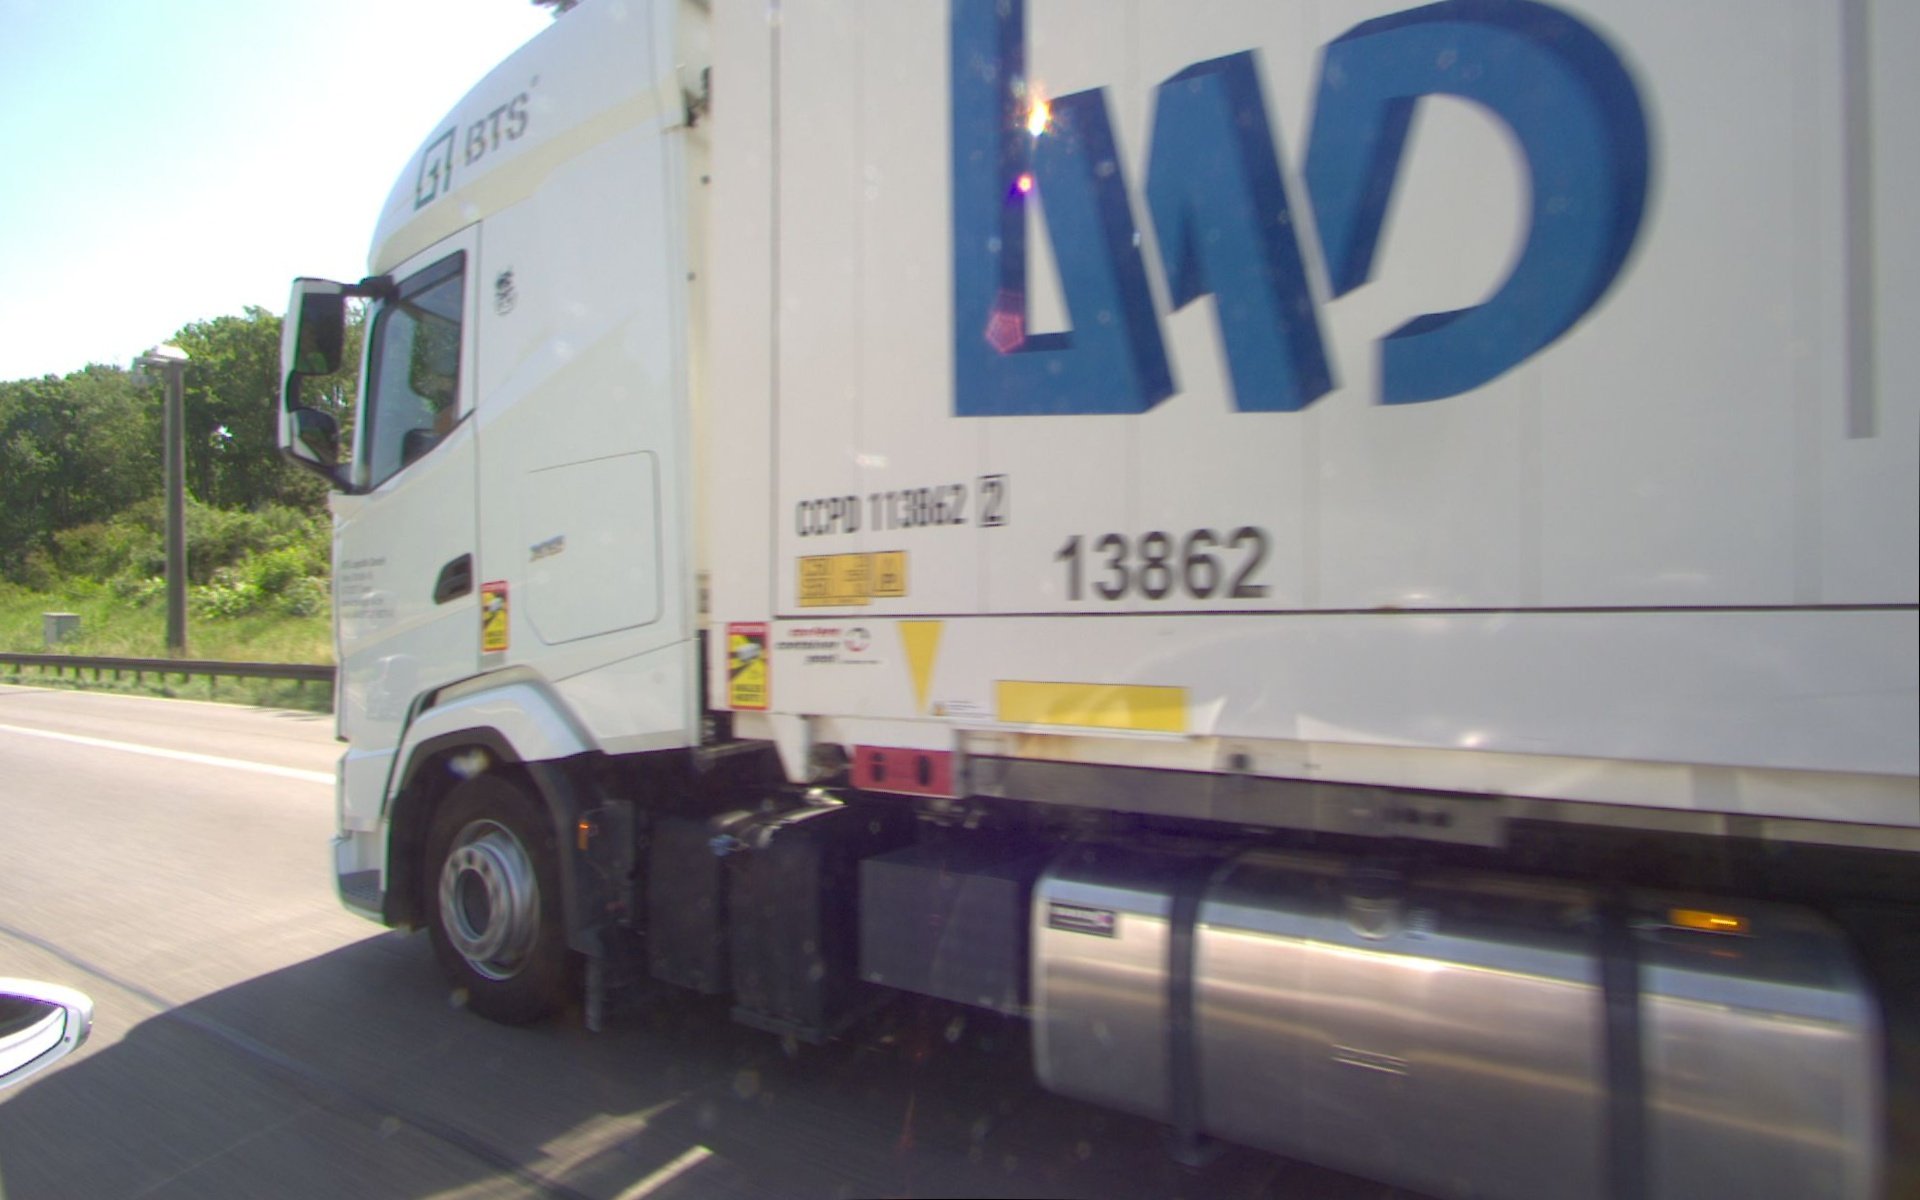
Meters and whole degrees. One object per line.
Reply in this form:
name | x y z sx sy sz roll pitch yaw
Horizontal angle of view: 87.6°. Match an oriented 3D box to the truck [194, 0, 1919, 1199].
truck | 1.642 -0.616 2.953 10.471 4.112 2.675 1 0 32
